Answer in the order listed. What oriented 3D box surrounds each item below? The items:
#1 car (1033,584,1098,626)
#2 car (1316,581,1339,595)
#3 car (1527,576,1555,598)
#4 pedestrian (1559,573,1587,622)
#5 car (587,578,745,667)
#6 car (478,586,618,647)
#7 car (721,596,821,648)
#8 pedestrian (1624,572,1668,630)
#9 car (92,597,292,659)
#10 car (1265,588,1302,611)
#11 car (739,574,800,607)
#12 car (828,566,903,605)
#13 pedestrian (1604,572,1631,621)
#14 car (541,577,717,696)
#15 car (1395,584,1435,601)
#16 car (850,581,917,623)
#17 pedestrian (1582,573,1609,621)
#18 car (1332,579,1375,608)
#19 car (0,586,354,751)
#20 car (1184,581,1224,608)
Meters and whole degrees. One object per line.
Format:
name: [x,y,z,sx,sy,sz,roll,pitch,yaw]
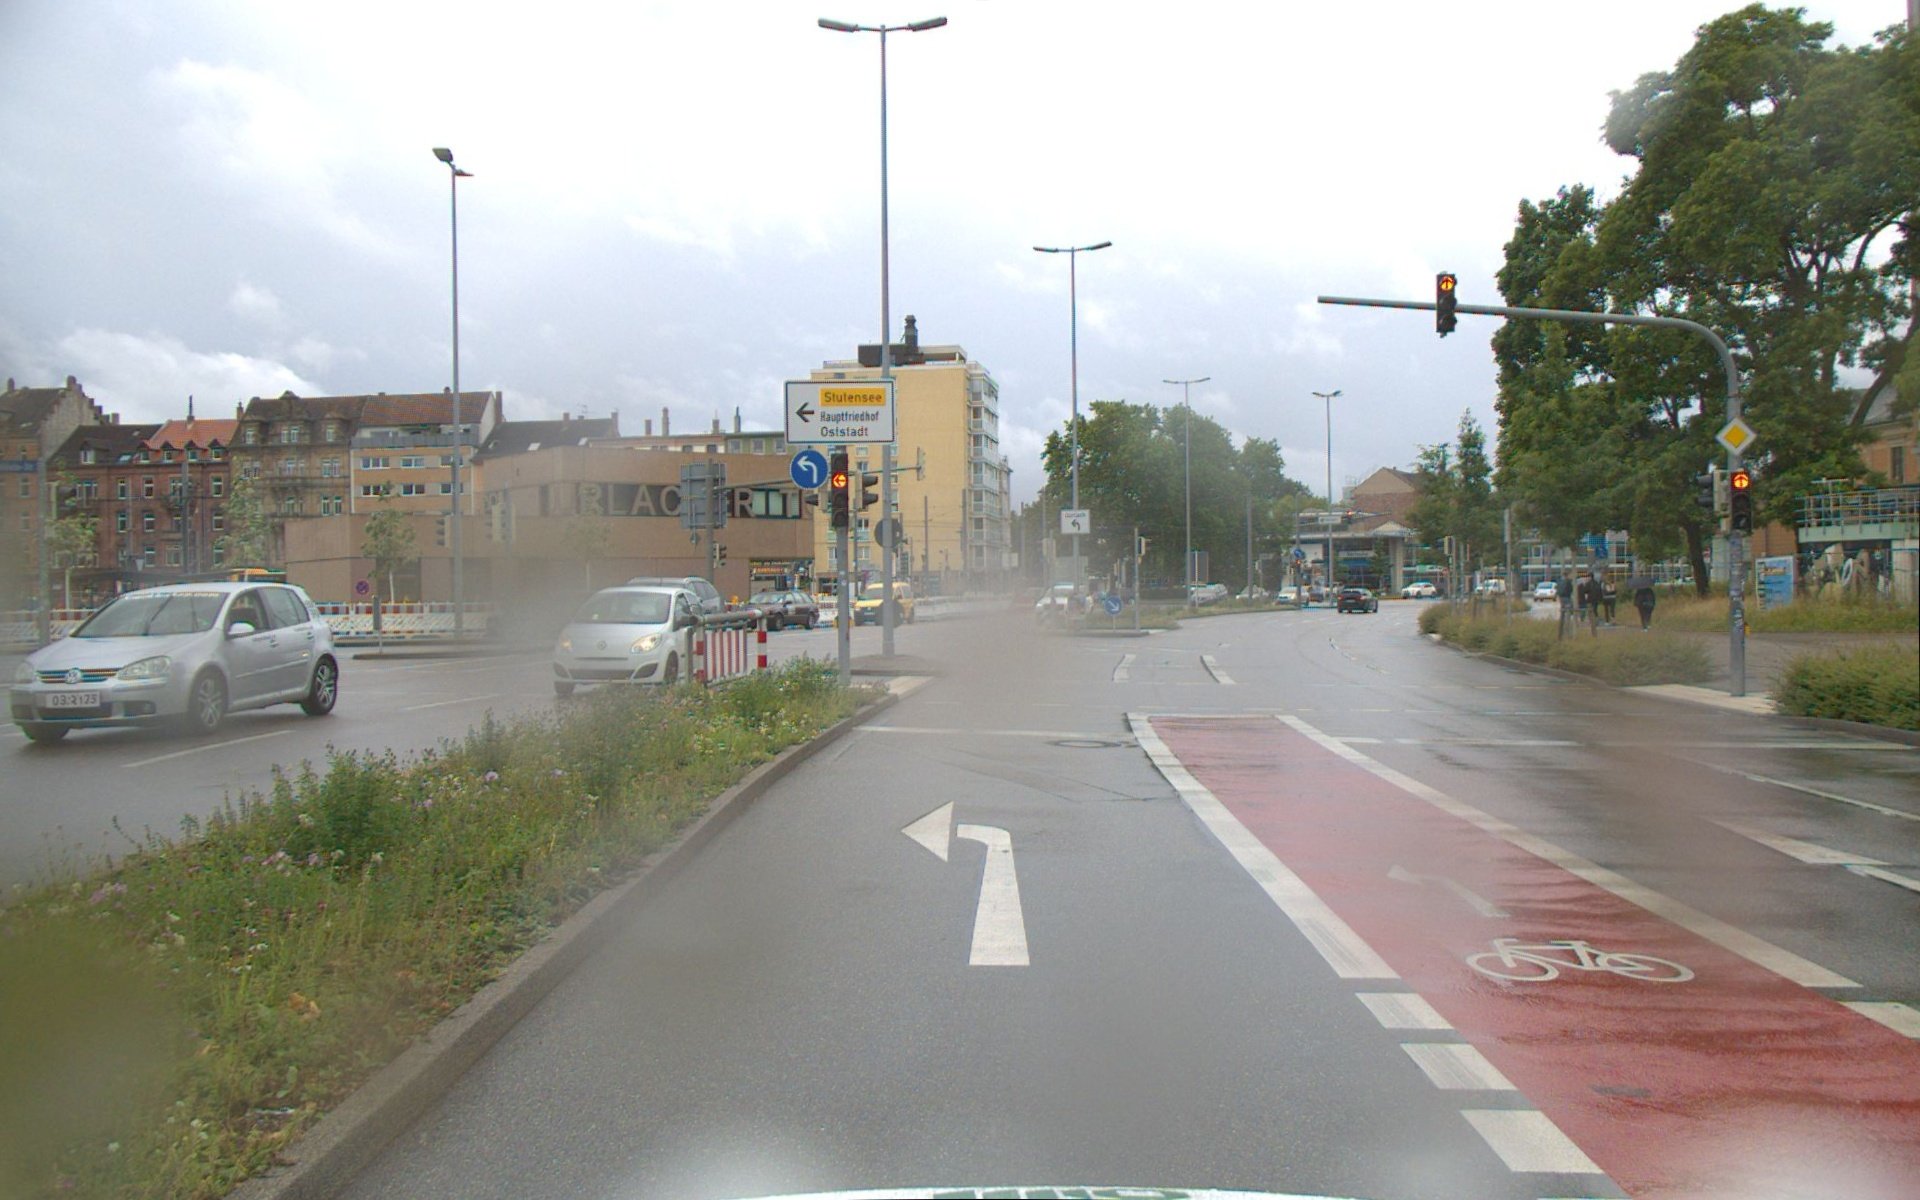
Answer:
car: [4.803,0.183,74.396,1.787,1.711,5.169,-3,0,16]
car: [43.858,-1.416,197.341,1.755,1.672,4.155,-1,1,26]
car: [46.066,-1.031,131.155,1.754,1.672,4.157,-1,1,24]
pedestrian: [20.344,-0.083,54.933,0.737,1.615,0.937,-1,0,13]
car: [-6.100,0.420,34.899,1.951,1.664,4.606,-3,0,7]
car: [-12.478,0.476,50.188,3.782,1.735,1.687,-1,1,-39]
car: [-6.638,0.744,58.506,1.670,1.735,4.461,-1,1,20]
pedestrian: [19.650,0.027,47.393,1.000,1.615,0.937,-1,0,13]
car: [-18.776,0.675,40.550,4.108,1.427,1.617,-1,0,-4]
car: [24.185,-0.036,123.440,1.660,1.440,4.182,-1,3,26]
car: [-17.967,-0.901,155.988,5.237,2.937,2.341,-1,0,5]
car: [-8.835,-1.344,154.891,6.598,3.439,2.811,-1,0,5]
pedestrian: [22.147,-0.121,55.687,0.688,1.615,0.937,-1,0,13]
car: [-4.651,0.462,23.750,1.644,1.527,3.869,-2,0,1]
car: [45.969,-0.790,167.137,4.357,1.672,1.769,-1,1,-41]
car: [-3.263,0.075,71.215,1.669,1.735,4.156,-1,0,15]
pedestrian: [21.395,-0.107,55.706,0.688,1.615,0.937,-1,0,13]
car: [23.538,-0.398,98.826,1.754,1.672,4.157,-1,1,24]
car: [-7.833,0.596,16.903,1.644,1.429,4.158,-2,0,1]
car: [17.390,-0.420,117.898,1.660,1.720,4.181,-1,2,25]
